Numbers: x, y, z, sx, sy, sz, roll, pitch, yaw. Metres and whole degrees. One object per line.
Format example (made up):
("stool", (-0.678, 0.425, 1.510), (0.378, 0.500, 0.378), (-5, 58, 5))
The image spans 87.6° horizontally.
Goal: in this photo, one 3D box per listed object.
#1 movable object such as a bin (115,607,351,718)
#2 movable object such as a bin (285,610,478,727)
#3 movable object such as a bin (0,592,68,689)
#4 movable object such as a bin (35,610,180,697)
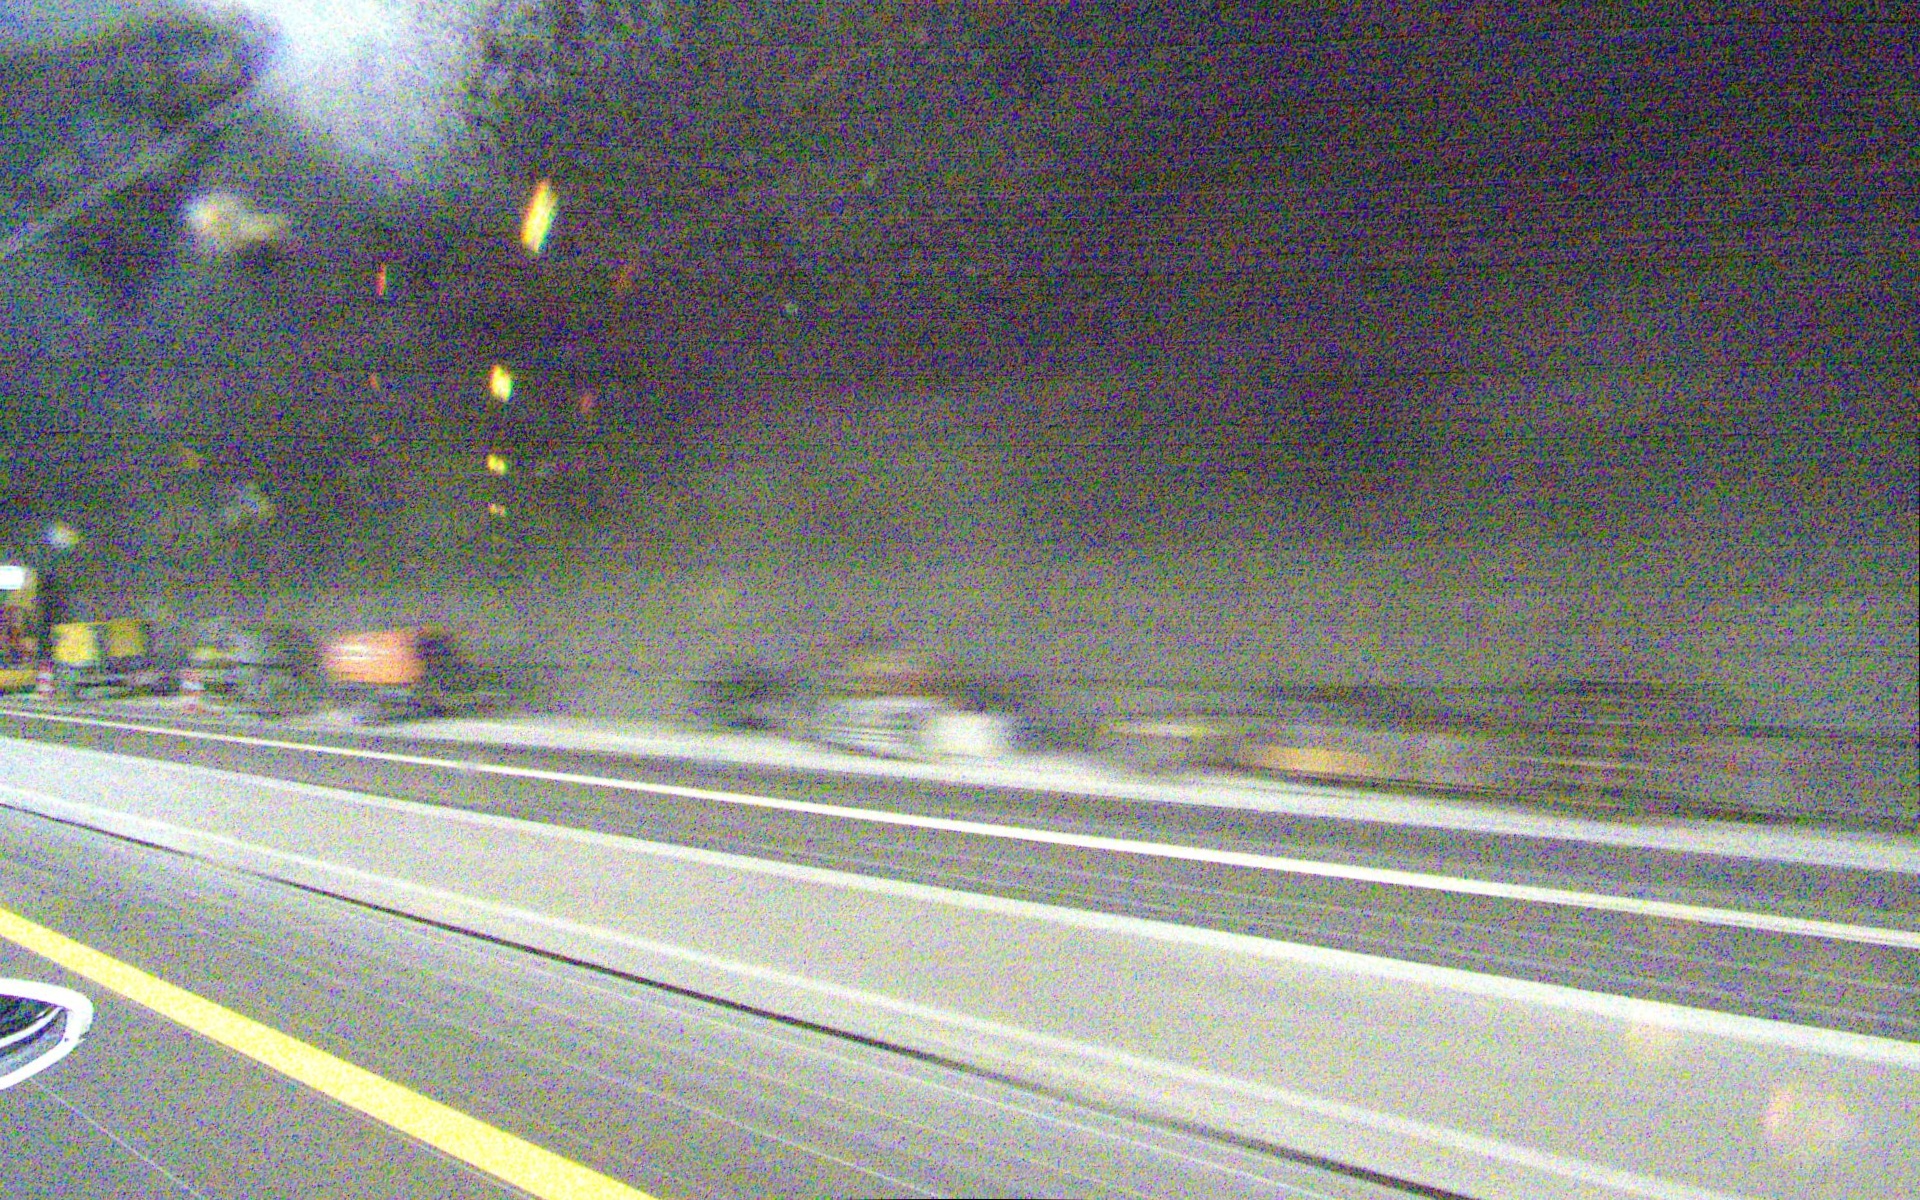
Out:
("movable object such as a bin", (-13.215, 1.033, 18.138), (4.437, 1.698, 1.855), (0, 3, 32))
("movable object such as a bin", (-9.108, 1.000, 15.741), (3.011, 1.616, 1.299), (0, 3, 32))
("movable object such as a bin", (-23.188, 0.954, 23.870), (4.562, 2.173, 1.680), (-1, -1, 32))
("movable object such as a bin", (-18.336, 1.122, 21.519), (3.011, 1.731, 1.553), (-1, -1, 32))
